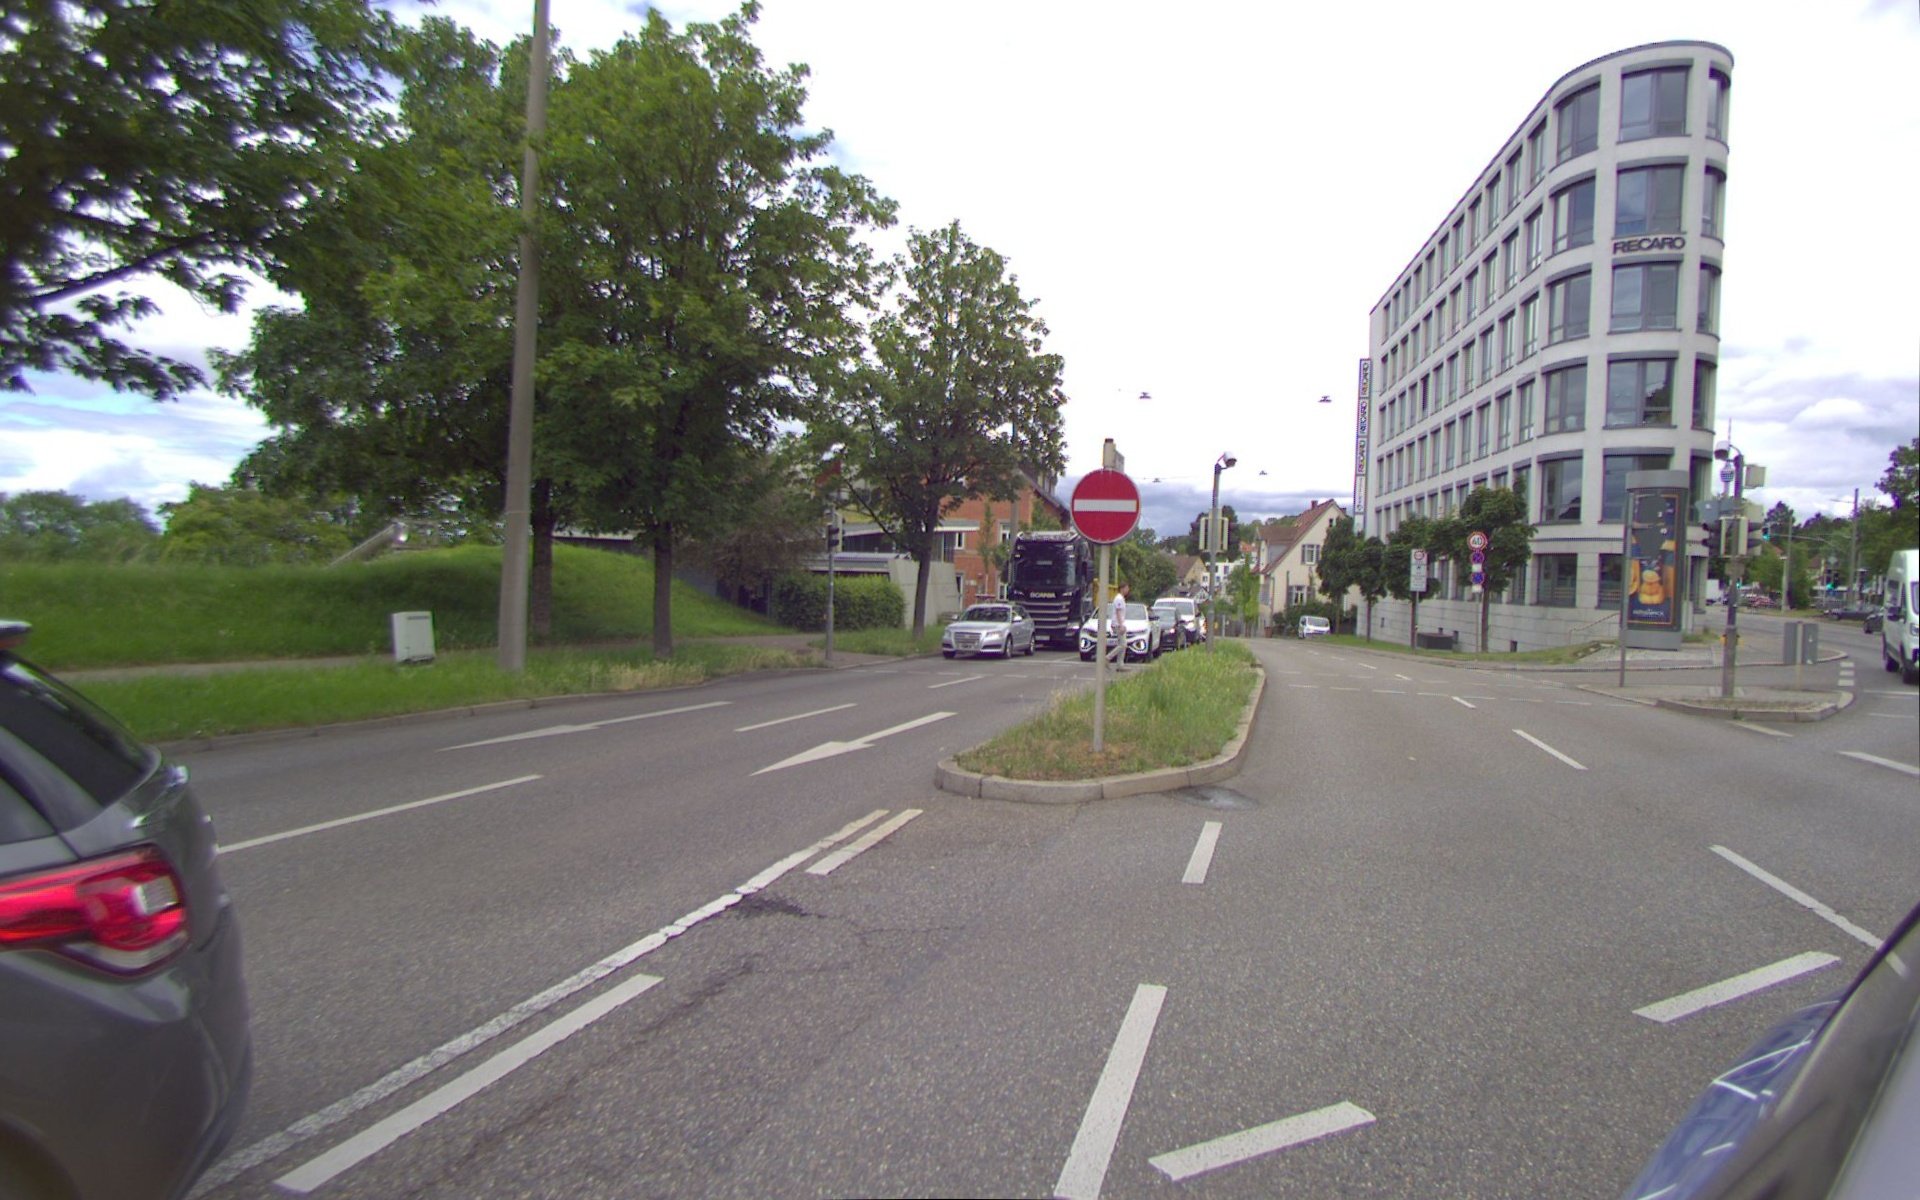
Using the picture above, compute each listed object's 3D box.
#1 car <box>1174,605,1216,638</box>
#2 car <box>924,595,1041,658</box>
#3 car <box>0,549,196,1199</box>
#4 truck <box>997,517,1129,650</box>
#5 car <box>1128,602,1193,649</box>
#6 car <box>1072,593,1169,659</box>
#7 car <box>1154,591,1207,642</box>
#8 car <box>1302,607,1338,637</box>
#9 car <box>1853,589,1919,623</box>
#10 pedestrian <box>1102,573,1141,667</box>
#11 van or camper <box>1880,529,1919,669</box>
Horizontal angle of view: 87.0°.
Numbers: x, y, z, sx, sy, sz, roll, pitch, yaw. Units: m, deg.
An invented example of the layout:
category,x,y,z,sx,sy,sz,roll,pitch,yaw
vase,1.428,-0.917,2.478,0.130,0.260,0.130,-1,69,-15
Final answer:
category,x,y,z,sx,sy,sz,roll,pitch,yaw
car,10.715,0.953,46.406,1.728,1.393,4.272,1,0,12
car,0.690,0.617,26.703,1.963,1.460,4.134,1,1,18
car,-3.439,0.653,1.191,3.990,1.479,1.704,0,1,-40
truck,3.853,-0.587,35.169,2.790,3.974,9.407,0,1,17
car,6.607,0.793,33.047,1.632,1.391,3.954,1,0,18
car,4.315,0.626,26.659,1.832,1.549,4.461,1,0,18
car,8.513,0.582,38.864,1.731,1.819,4.266,0,0,16
car,26.993,1.613,76.028,2.145,2.038,3.984,1,2,14
car,44.872,0.278,48.788,1.837,1.454,4.653,4,3,31
pedestrian,3.405,0.405,21.276,0.746,1.942,0.585,0,0,17
van or camper,20.840,-0.024,20.860,2.099,2.724,6.217,1,1,36
